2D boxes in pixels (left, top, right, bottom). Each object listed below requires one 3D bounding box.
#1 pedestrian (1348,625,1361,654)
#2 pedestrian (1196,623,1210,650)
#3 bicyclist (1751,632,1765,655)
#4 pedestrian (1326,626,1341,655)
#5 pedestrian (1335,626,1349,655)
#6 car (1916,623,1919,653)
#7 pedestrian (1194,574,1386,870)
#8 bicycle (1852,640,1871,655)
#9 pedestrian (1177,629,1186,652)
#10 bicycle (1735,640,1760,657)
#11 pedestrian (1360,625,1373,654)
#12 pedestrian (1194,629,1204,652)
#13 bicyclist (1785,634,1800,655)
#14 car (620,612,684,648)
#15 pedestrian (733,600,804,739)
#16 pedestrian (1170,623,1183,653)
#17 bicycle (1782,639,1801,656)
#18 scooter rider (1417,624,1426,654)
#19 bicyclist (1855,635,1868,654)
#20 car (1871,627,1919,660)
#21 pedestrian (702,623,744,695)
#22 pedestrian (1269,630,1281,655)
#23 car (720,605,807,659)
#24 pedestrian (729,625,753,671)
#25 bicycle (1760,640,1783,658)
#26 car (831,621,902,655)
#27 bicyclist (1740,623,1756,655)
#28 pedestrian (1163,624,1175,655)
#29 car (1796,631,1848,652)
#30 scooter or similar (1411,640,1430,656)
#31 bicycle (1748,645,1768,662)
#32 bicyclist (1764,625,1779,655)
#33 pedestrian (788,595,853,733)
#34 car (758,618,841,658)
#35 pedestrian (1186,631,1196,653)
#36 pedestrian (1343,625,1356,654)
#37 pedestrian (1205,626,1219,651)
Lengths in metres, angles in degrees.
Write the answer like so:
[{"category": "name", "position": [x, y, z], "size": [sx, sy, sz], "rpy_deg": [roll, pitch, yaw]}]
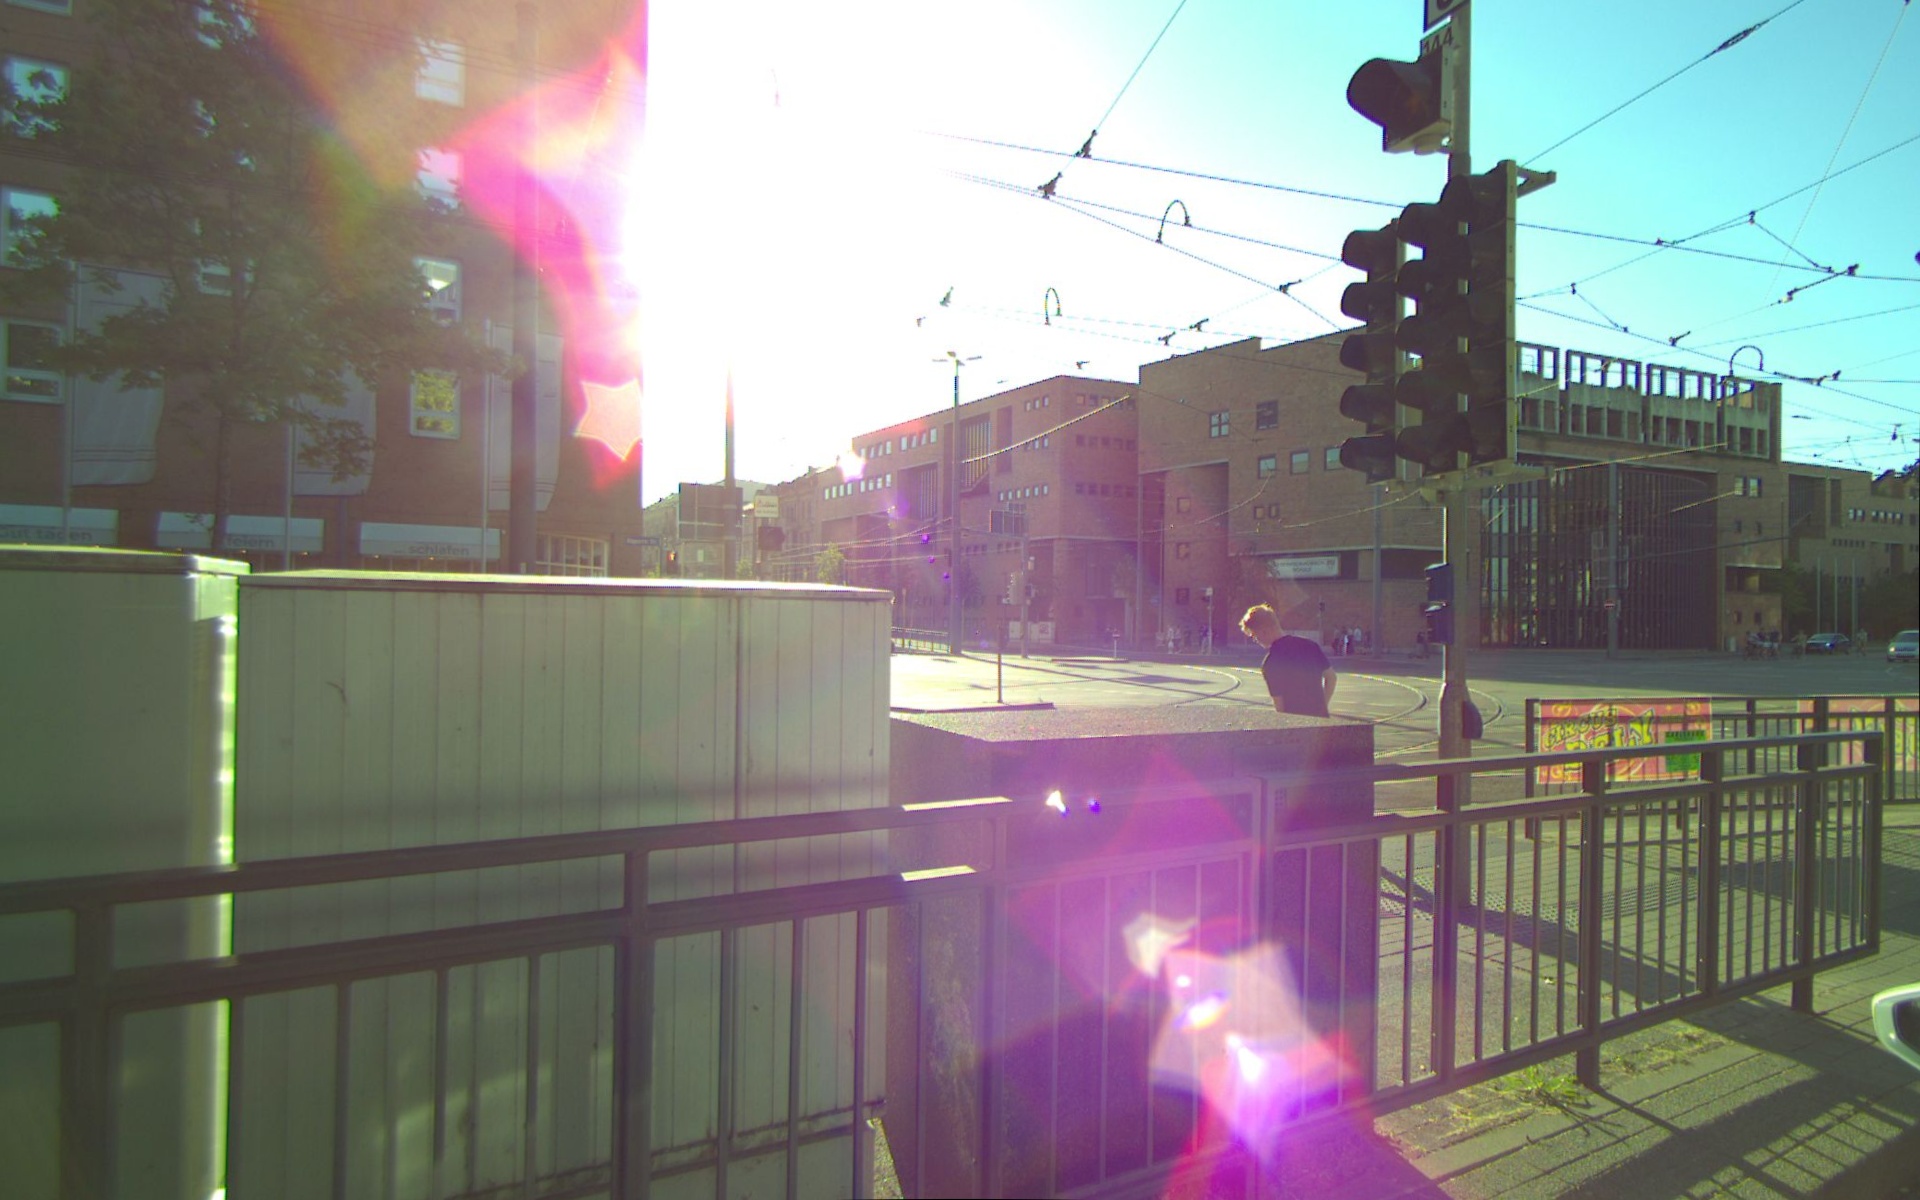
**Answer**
[{"category": "pedestrian", "position": [24.057, 2.404, 61.279], "size": [0.496, 1.706, 0.590], "rpy_deg": [1, -1, -29]}, {"category": "pedestrian", "position": [13.687, 2.058, 56.493], "size": [0.603, 1.473, 0.569], "rpy_deg": [1, -1, -7]}, {"category": "bicyclist", "position": [46.564, 2.557, 58.612], "size": [0.574, 1.321, 0.503], "rpy_deg": [1, -1, -30]}, {"category": "pedestrian", "position": [22.474, 2.434, 60.397], "size": [0.645, 1.706, 0.616], "rpy_deg": [1, -1, -36]}, {"category": "pedestrian", "position": [22.434, 2.369, 59.001], "size": [0.584, 1.706, 0.547], "rpy_deg": [1, -1, -25]}, {"category": "car", "position": [55.260, 2.111, 55.900], "size": [3.954, 1.661, 1.984], "rpy_deg": [1, -2, -31]}, {"category": "pedestrian", "position": [2.175, 0.752, 6.603], "size": [1.073, 1.771, 0.742], "rpy_deg": [-1, -2, 28]}, {"category": "bicycle", "position": [58.840, 3.079, 65.542], "size": [1.469, 0.976, 0.489], "rpy_deg": [1, -1, -30]}, {"category": "pedestrian", "position": [14.368, 2.604, 65.190], "size": [0.523, 1.482, 0.591], "rpy_deg": [0, -1, 6]}, {"category": "bicycle", "position": [44.024, 2.702, 56.155], "size": [1.568, 0.976, 0.539], "rpy_deg": [1, -1, -30]}, {"category": "pedestrian", "position": [24.273, 2.368, 59.970], "size": [0.543, 1.706, 0.568], "rpy_deg": [1, -1, -38]}, {"category": "pedestrian", "position": [15.422, 2.622, 64.792], "size": [0.549, 1.445, 0.556], "rpy_deg": [0, -1, 0]}, {"category": "bicyclist", "position": [49.324, 2.627, 59.527], "size": [0.574, 1.194, 0.503], "rpy_deg": [1, -1, -30]}, {"category": "car", "position": [-18.684, 1.793, 60.723], "size": [1.982, 2.122, 5.156], "rpy_deg": [1, -2, -38]}, {"category": "pedestrian", "position": [-2.652, 0.928, 13.860], "size": [0.713, 1.837, 0.904], "rpy_deg": [1, -1, -28]}, {"category": "pedestrian", "position": [12.035, 2.097, 55.847], "size": [0.578, 1.635, 0.597], "rpy_deg": [0, -1, -5]}, {"category": "bicycle", "position": [49.294, 2.814, 59.520], "size": [1.332, 0.976, 0.449], "rpy_deg": [1, -1, -30]}, {"category": "scooter rider", "position": [25.440, 2.163, 55.399], "size": [0.429, 1.669, 0.229], "rpy_deg": [0, -1, 15]}, {"category": "bicyclist", "position": [58.793, 2.869, 65.517], "size": [0.574, 1.226, 0.503], "rpy_deg": [1, -1, -30]}, {"category": "car", "position": [48.990, 2.224, 51.786], "size": [3.954, 1.661, 1.984], "rpy_deg": [1, -2, -31]}, {"category": "pedestrian", "position": [-5.666, 1.391, 23.988], "size": [0.709, 1.669, 0.953], "rpy_deg": [1, -1, -30]}, {"category": "pedestrian", "position": [19.528, 2.641, 62.279], "size": [0.484, 1.526, 0.547], "rpy_deg": [-1, -2, 44]}, {"category": "car", "position": [-9.420, 1.519, 47.926], "size": [1.982, 2.419, 5.156], "rpy_deg": [1, -2, -38]}, {"category": "pedestrian", "position": [-8.008, 1.739, 36.723], "size": [0.658, 1.669, 0.638], "rpy_deg": [1, -1, -34]}, {"category": "bicycle", "position": [44.913, 2.685, 55.608], "size": [1.557, 0.976, 0.470], "rpy_deg": [1, -1, -30]}, {"category": "car", "position": [-4.874, 1.971, 52.118], "size": [1.980, 1.572, 3.961], "rpy_deg": [2, 0, -35]}, {"category": "bicyclist", "position": [44.104, 2.169, 56.202], "size": [0.574, 1.754, 0.534], "rpy_deg": [1, -1, -30]}, {"category": "pedestrian", "position": [11.466, 2.159, 55.083], "size": [0.538, 1.670, 0.601], "rpy_deg": [0, -1, -2]}, {"category": "car", "position": [60.767, 2.928, 70.771], "size": [3.954, 1.455, 1.658], "rpy_deg": [1, -2, -31]}, {"category": "scooter or similar", "position": [25.386, 2.640, 55.381], "size": [0.931, 0.911, 0.176], "rpy_deg": [0, -1, 14]}, {"category": "bicycle", "position": [46.568, 3.134, 58.637], "size": [1.304, 0.976, 0.465], "rpy_deg": [1, -1, -30]}, {"category": "bicyclist", "position": [44.922, 2.212, 55.590], "size": [0.574, 1.624, 0.456], "rpy_deg": [1, -1, -30]}, {"category": "pedestrian", "position": [-1.965, 0.872, 14.103], "size": [0.647, 1.864, 0.835], "rpy_deg": [1, -1, -28]}, {"category": "car", "position": [-8.335, 1.910, 51.711], "size": [1.982, 1.928, 5.156], "rpy_deg": [1, -2, -38]}, {"category": "pedestrian", "position": [14.946, 2.720, 65.053], "size": [0.562, 1.428, 0.554], "rpy_deg": [0, -1, 4]}, {"category": "pedestrian", "position": [23.415, 2.375, 60.415], "size": [0.568, 1.706, 0.544], "rpy_deg": [1, -1, -36]}, {"category": "pedestrian", "position": [13.842, 2.096, 55.226], "size": [0.667, 1.357, 0.605], "rpy_deg": [0, -1, 5]}]
